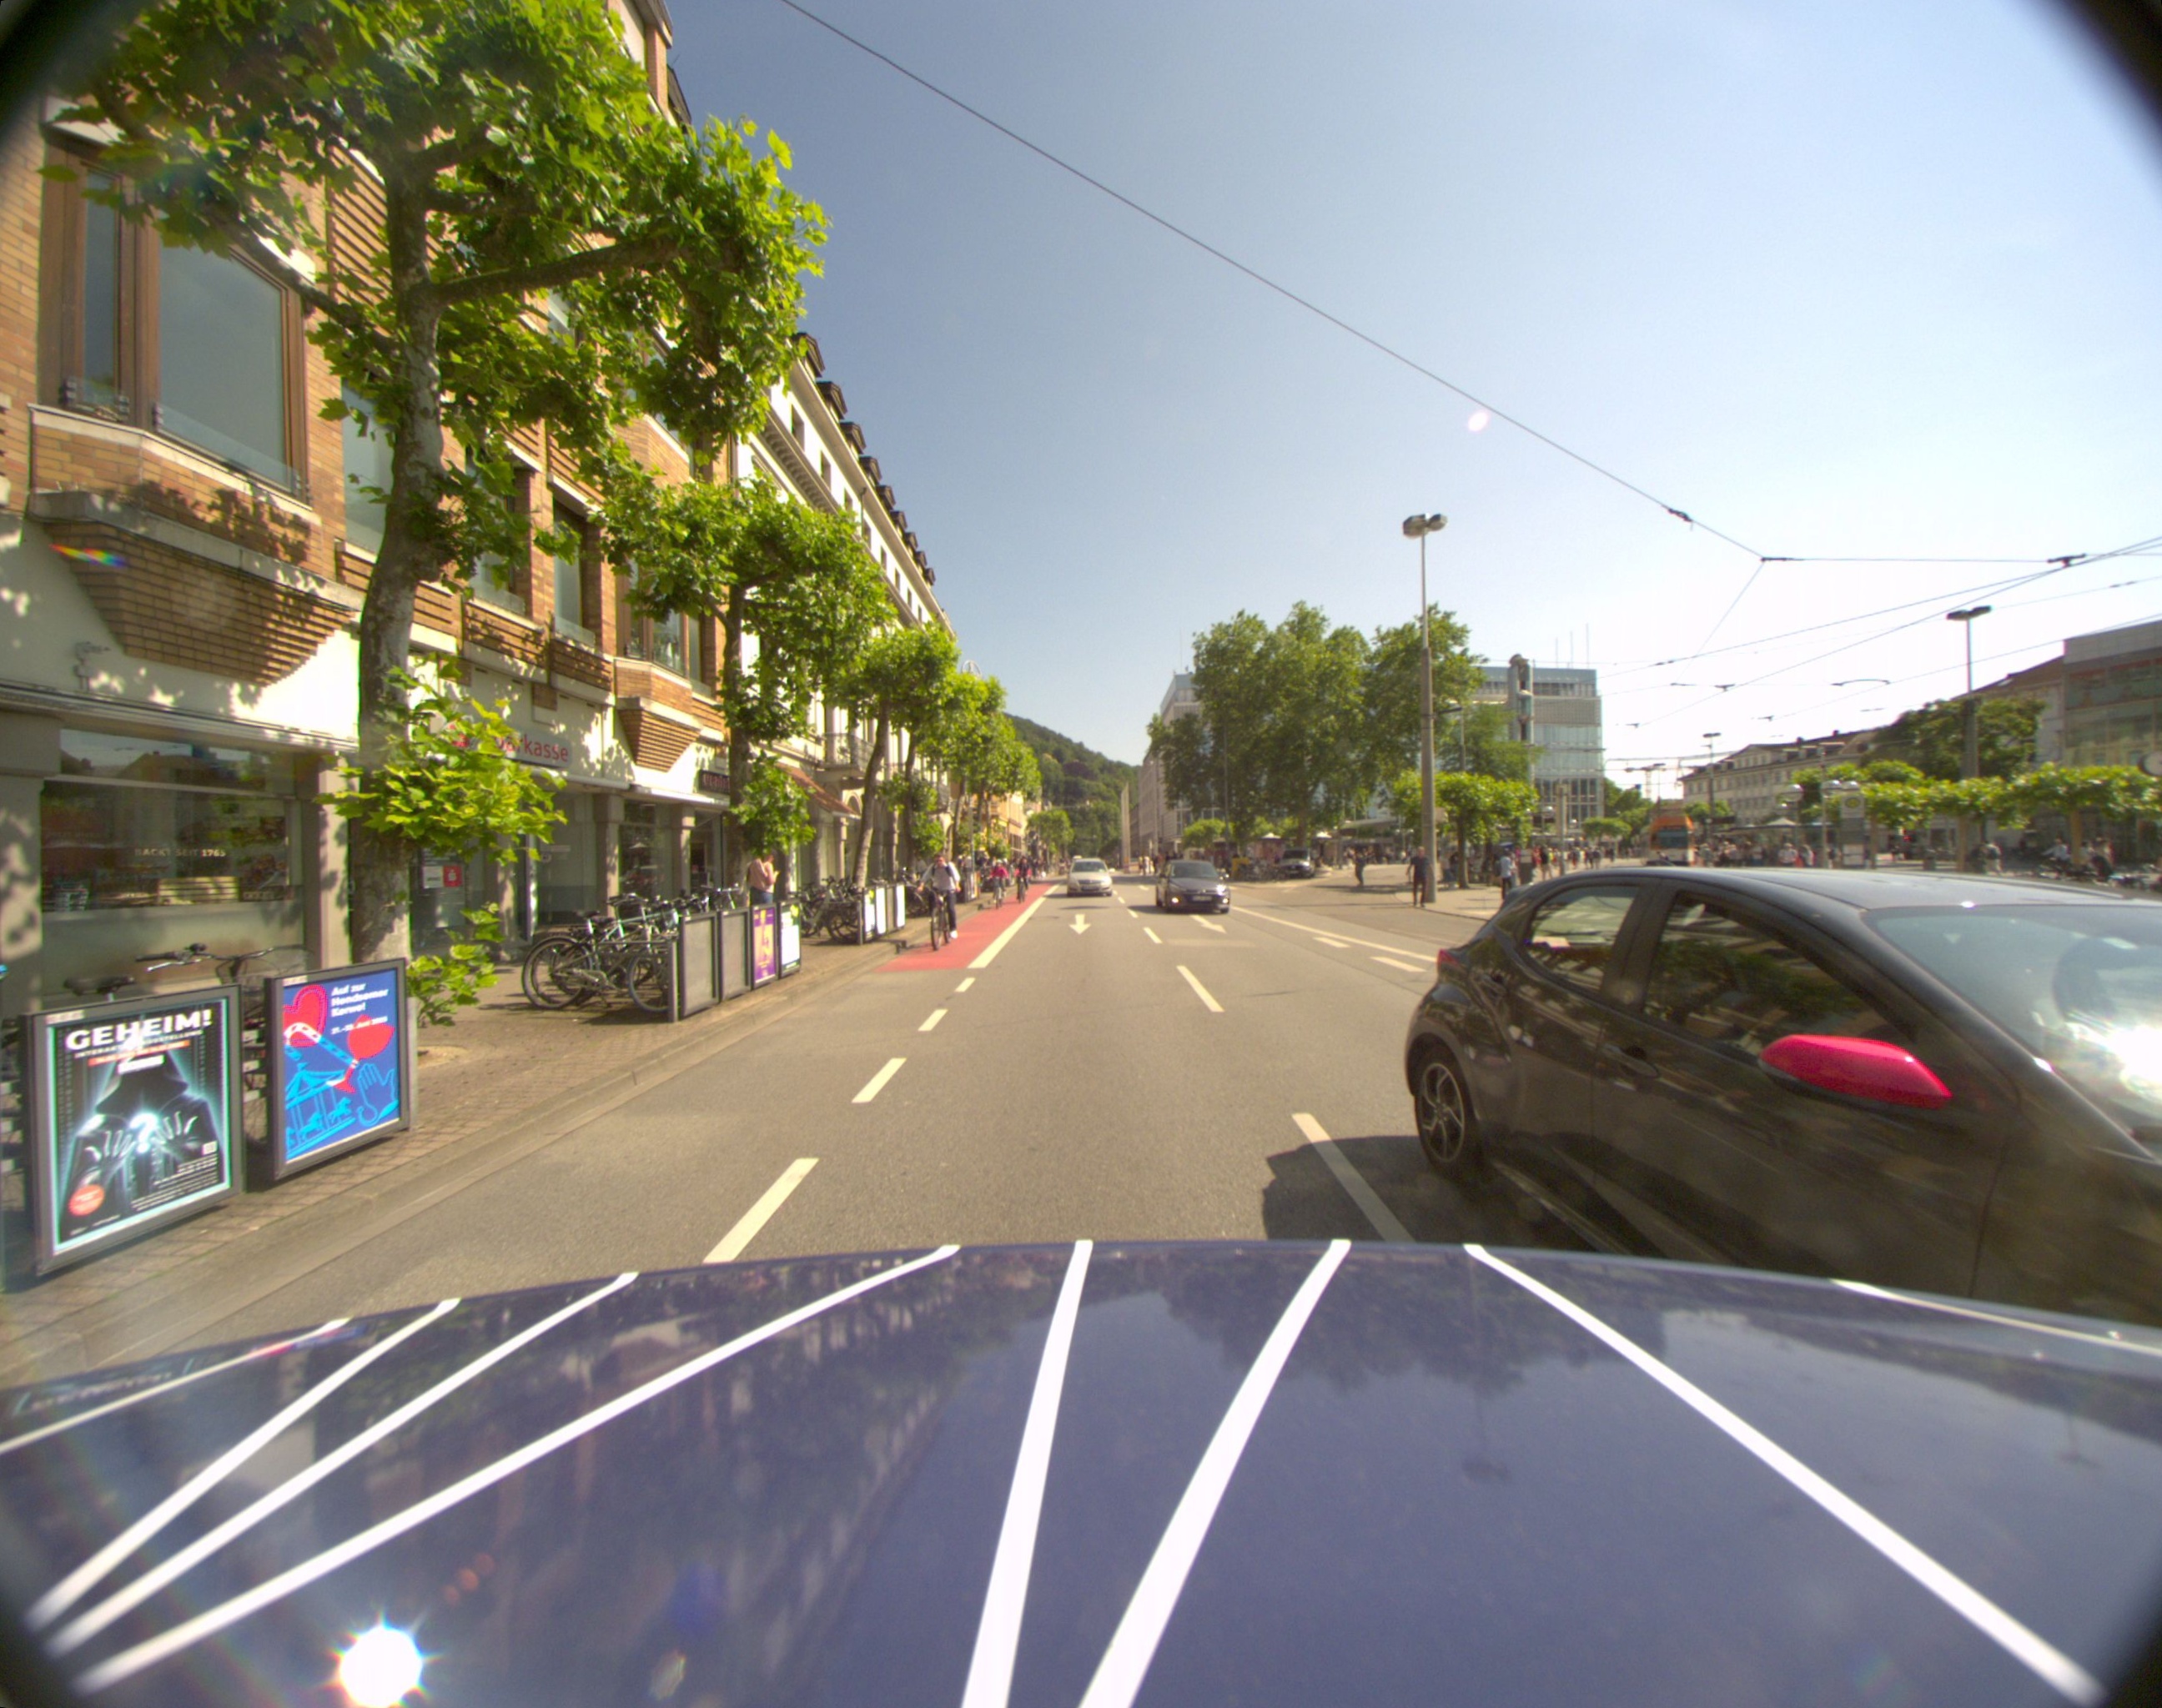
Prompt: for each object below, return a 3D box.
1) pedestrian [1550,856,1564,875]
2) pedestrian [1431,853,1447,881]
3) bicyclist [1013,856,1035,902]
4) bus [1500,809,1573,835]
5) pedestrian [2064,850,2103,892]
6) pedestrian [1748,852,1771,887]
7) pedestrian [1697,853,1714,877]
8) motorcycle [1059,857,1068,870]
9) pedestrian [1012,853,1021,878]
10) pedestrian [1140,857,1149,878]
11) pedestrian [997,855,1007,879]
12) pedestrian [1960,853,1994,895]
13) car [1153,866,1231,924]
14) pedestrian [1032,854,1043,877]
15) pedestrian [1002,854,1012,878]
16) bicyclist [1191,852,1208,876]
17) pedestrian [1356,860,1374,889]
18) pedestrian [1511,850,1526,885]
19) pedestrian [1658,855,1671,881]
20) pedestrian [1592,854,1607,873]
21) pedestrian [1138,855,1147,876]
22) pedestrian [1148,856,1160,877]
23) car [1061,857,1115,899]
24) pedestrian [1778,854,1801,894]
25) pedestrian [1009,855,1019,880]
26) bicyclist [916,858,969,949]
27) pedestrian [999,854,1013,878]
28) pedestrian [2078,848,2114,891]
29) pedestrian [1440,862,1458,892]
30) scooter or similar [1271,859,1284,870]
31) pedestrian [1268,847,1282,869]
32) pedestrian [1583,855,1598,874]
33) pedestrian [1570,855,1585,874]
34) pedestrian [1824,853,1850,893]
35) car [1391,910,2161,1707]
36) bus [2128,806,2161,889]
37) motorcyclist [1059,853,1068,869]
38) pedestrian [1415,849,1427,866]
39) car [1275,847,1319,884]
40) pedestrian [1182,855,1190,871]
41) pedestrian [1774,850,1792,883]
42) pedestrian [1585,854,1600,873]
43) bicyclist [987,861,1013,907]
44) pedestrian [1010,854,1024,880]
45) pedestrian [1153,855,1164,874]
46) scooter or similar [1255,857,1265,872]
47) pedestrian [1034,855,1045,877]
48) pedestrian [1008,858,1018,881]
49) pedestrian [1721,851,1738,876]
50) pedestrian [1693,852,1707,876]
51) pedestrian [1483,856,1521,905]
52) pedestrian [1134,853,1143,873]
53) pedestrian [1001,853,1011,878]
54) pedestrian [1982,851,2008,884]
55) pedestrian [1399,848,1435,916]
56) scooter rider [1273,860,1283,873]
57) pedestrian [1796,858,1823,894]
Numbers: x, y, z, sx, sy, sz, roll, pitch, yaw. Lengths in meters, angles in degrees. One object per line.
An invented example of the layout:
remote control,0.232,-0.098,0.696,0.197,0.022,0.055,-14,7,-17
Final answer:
pedestrian,38.426,0.911,61.312,0.757,1.464,0.555,-3,1,0
pedestrian,19.040,0.671,40.439,0.727,1.457,0.682,1,0,21
bicyclist,-2.011,0.867,26.829,0.690,1.567,0.778,-3,1,-3
bus,57.471,-4.090,95.706,12.202,2.774,2.385,-3,1,-32
pedestrian,35.604,0.613,26.991,0.681,1.457,0.624,1,0,-15
pedestrian,35.078,0.807,39.296,0.626,1.784,0.679,1,0,-22
pedestrian,39.333,0.688,47.847,0.681,1.540,0.577,1,0,-26
motorcycle,-1.638,0.889,70.749,0.736,1.086,1.898,-3,0,1
pedestrian,-4.860,0.867,57.474,0.578,1.792,0.697,-3,1,-3
pedestrian,5.238,1.108,62.928,0.575,1.704,0.652,-3,1,-1
pedestrian,-5.441,0.895,52.588,0.578,1.675,0.622,-3,1,-3
pedestrian,33.426,0.726,28.355,0.600,1.543,0.530,1,0,3
car,3.082,1.099,21.821,1.699,1.397,4.000,1,0,1
pedestrian,-3.449,0.901,59.912,0.605,1.726,0.647,-5,2,-16
pedestrian,-5.259,0.847,54.170,0.578,1.729,0.622,-3,1,-3
bicyclist,7.548,0.615,48.626,0.831,1.489,1.160,-3,1,0
pedestrian,14.181,1.022,37.967,0.624,1.457,0.680,0,0,0
pedestrian,23.251,0.698,40.366,0.577,1.830,0.682,1,0,21
pedestrian,35.053,0.822,45.644,0.477,1.540,0.451,1,0,-26
pedestrian,40.868,0.777,59.874,0.757,1.464,0.555,-3,1,0
pedestrian,5.325,0.996,65.931,0.639,1.737,0.733,-3,1,-1
pedestrian,6.158,1.037,64.396,0.722,1.737,0.884,-3,1,-10
car,0.314,0.895,30.145,1.918,1.401,4.000,-3,0,1
pedestrian,29.628,0.851,31.784,0.473,1.656,0.521,1,0,-22
pedestrian,-4.571,0.893,51.858,0.578,1.675,0.775,-3,1,-3
bicyclist,-2.494,0.875,13.771,0.750,1.567,0.778,-3,1,-1
pedestrian,-5.834,0.908,59.211,0.621,1.834,0.857,-3,1,39
pedestrian,35.065,0.542,26.250,0.526,1.457,0.588,1,0,-19
pedestrian,15.688,0.976,32.404,0.577,1.226,0.555,-2,1,34
scooter or similar,13.167,0.715,50.821,0.579,0.643,0.787,-3,1,33
pedestrian,13.238,0.295,51.804,0.579,1.452,0.787,-3,1,34
pedestrian,40.535,0.803,60.506,0.757,1.464,0.555,-3,1,0
pedestrian,39.744,0.843,60.862,0.757,1.464,0.555,-3,1,0
pedestrian,32.450,0.806,32.629,0.561,1.720,0.588,1,0,-22
car,2.457,1.035,1.927,1.781,1.466,4.000,0,0,1
bus,44.173,-0.220,26.071,3.060,3.400,12.475,-3,0,19
motorcyclist,-1.640,0.606,70.844,0.736,1.446,0.707,-3,1,1
pedestrian,35.208,0.361,78.733,0.752,1.737,0.782,-3,1,-10
car,13.273,0.673,46.478,1.996,2.002,5.074,-3,0,21
pedestrian,10.727,0.925,77.521,0.732,1.660,0.640,-3,1,14
pedestrian,36.774,0.664,39.784,0.559,1.708,0.465,1,0,-22
pedestrian,41.162,0.761,61.180,0.757,1.464,0.555,-3,1,0
bicyclist,-2.592,0.954,24.260,0.690,1.388,0.778,-3,1,-1
pedestrian,-4.259,0.872,50.682,0.620,1.675,0.579,-2,1,45
pedestrian,6.994,0.943,68.383,0.751,1.737,0.733,-3,1,-10
scooter or similar,13.141,0.767,55.734,0.567,1.113,0.539,-3,1,27
pedestrian,-3.208,0.940,58.685,0.579,1.675,0.726,-3,1,-22
pedestrian,-4.736,1.058,52.627,0.578,1.574,0.622,-3,1,-3
pedestrian,39.697,0.588,46.505,0.681,1.540,0.577,1,0,-26
pedestrian,40.180,0.638,49.336,0.577,1.540,0.682,1,0,27
pedestrian,14.276,0.881,25.750,0.895,1.649,0.680,0,0,-9
pedestrian,5.226,0.782,68.794,0.639,1.737,0.733,-3,1,-1
pedestrian,-5.245,0.795,53.450,0.578,1.714,0.622,-3,1,-3
pedestrian,41.062,0.603,34.135,0.626,1.457,0.679,1,0,-33
pedestrian,10.098,0.823,22.819,0.897,1.996,0.678,1,0,-43
scooter rider,13.219,0.846,50.934,0.506,0.834,0.349,-3,1,34
pedestrian,29.794,0.884,31.078,0.626,1.457,0.552,1,0,-22
